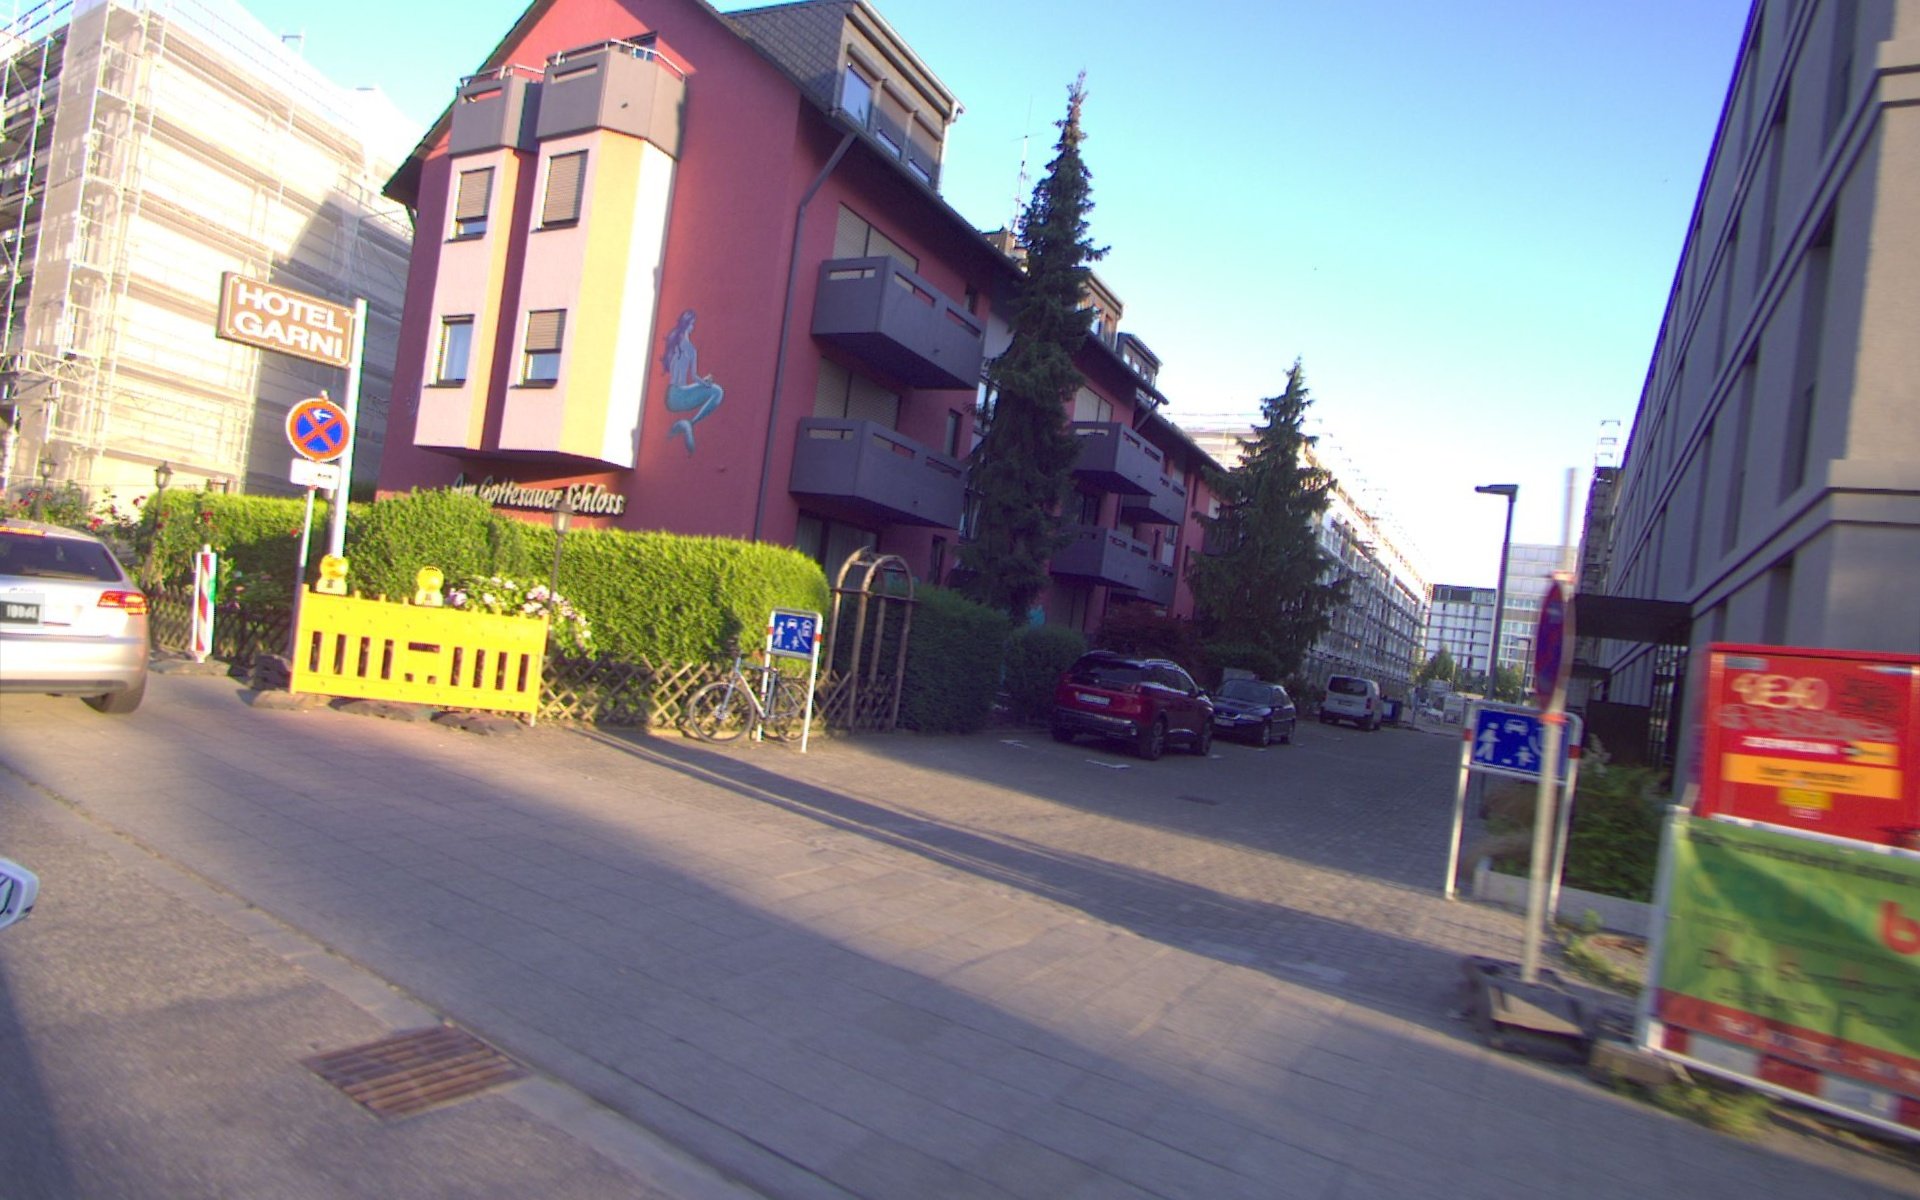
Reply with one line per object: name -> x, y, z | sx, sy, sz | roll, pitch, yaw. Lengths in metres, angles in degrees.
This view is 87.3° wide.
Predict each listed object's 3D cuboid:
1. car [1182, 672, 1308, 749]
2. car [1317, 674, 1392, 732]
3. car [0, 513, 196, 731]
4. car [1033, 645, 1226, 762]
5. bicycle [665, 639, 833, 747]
car -> 6.787, 2.598, 23.677 | 1.731, 1.425, 3.908 | 7, -2, 32
car -> 15.330, 4.001, 38.988 | 1.855, 1.872, 3.908 | 7, -2, 32
car -> -7.994, -0.009, 7.964 | 4.041, 1.413, 1.778 | 7, -2, 34
car -> 3.088, 1.810, 17.625 | 1.855, 1.585, 3.908 | 7, -2, 32
bicycle -> -2.312, 1.068, 11.282 | 0.440, 1.082, 1.893 | 7, -2, 38
